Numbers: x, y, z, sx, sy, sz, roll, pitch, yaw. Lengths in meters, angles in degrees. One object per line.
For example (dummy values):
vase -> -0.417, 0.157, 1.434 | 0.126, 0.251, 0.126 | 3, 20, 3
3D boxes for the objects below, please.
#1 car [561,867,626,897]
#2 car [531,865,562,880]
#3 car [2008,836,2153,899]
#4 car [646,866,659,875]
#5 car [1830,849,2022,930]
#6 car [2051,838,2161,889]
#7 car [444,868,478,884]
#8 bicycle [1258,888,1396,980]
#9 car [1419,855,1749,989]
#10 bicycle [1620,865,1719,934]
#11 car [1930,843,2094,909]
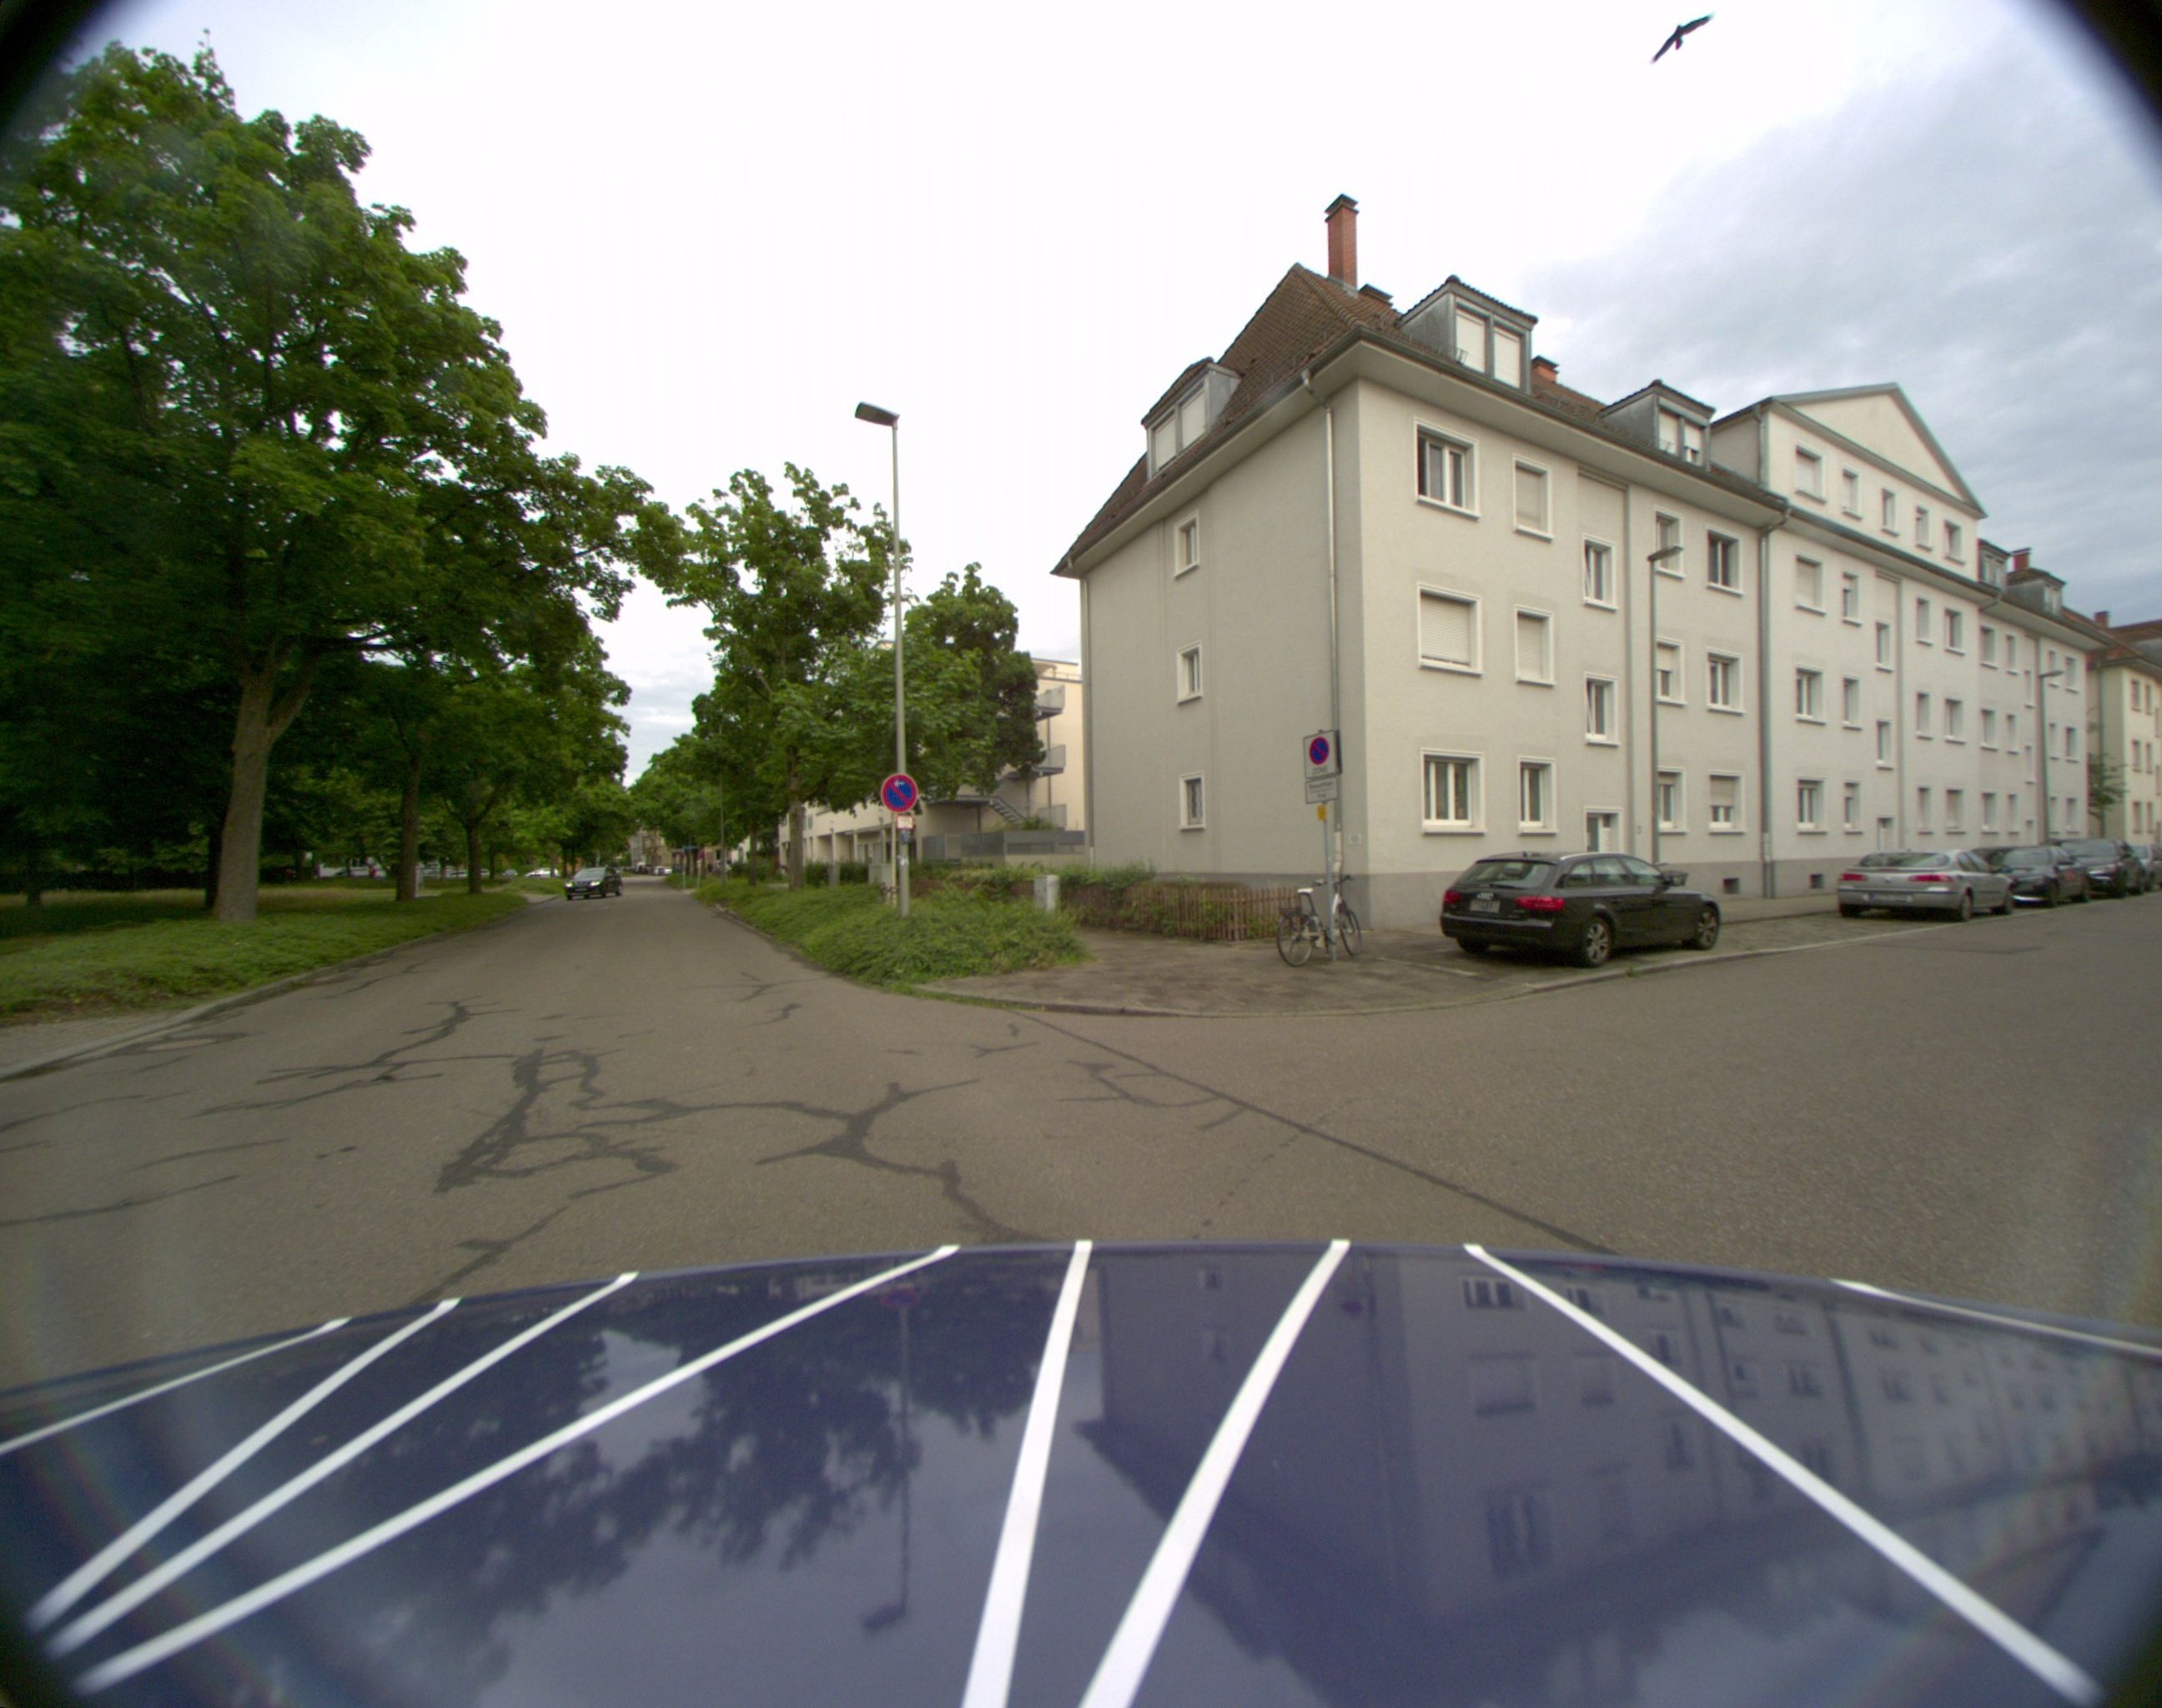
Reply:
car -> -26.204, 1.471, 41.030 | 2.002, 1.477, 4.533 | 0, 0, -20
car -> -73.327, 2.546, 104.299 | 3.320, 1.913, 1.806 | -2, 0, -38
car -> 27.750, 0.320, 21.077 | 4.166, 1.589, 1.850 | -1, 1, -29
car -> -82.448, 3.127, 146.183 | 1.788, 1.754, 3.652 | -1, 0, -36
car -> 17.701, 0.643, 15.880 | 4.437, 1.454, 1.734 | -1, 1, -29
car -> 32.131, 0.249, 23.637 | 3.762, 1.478, 1.734 | -1, 1, -28
car -> -80.730, 2.826, 99.046 | 3.320, 1.913, 1.806 | -2, 0, -38
bicycle -> 3.300, 1.028, 10.137 | 1.891, 0.998, 0.568 | -3, 3, -27
car -> 7.097, 0.778, 10.619 | 4.732, 1.454, 1.862 | -1, 1, -29
bicycle -> 11.319, 0.845, 14.617 | 1.898, 1.194, 0.749 | -1, 2, -27
car -> 22.850, 0.472, 18.629 | 4.329, 1.454, 1.783 | -1, 1, -29
